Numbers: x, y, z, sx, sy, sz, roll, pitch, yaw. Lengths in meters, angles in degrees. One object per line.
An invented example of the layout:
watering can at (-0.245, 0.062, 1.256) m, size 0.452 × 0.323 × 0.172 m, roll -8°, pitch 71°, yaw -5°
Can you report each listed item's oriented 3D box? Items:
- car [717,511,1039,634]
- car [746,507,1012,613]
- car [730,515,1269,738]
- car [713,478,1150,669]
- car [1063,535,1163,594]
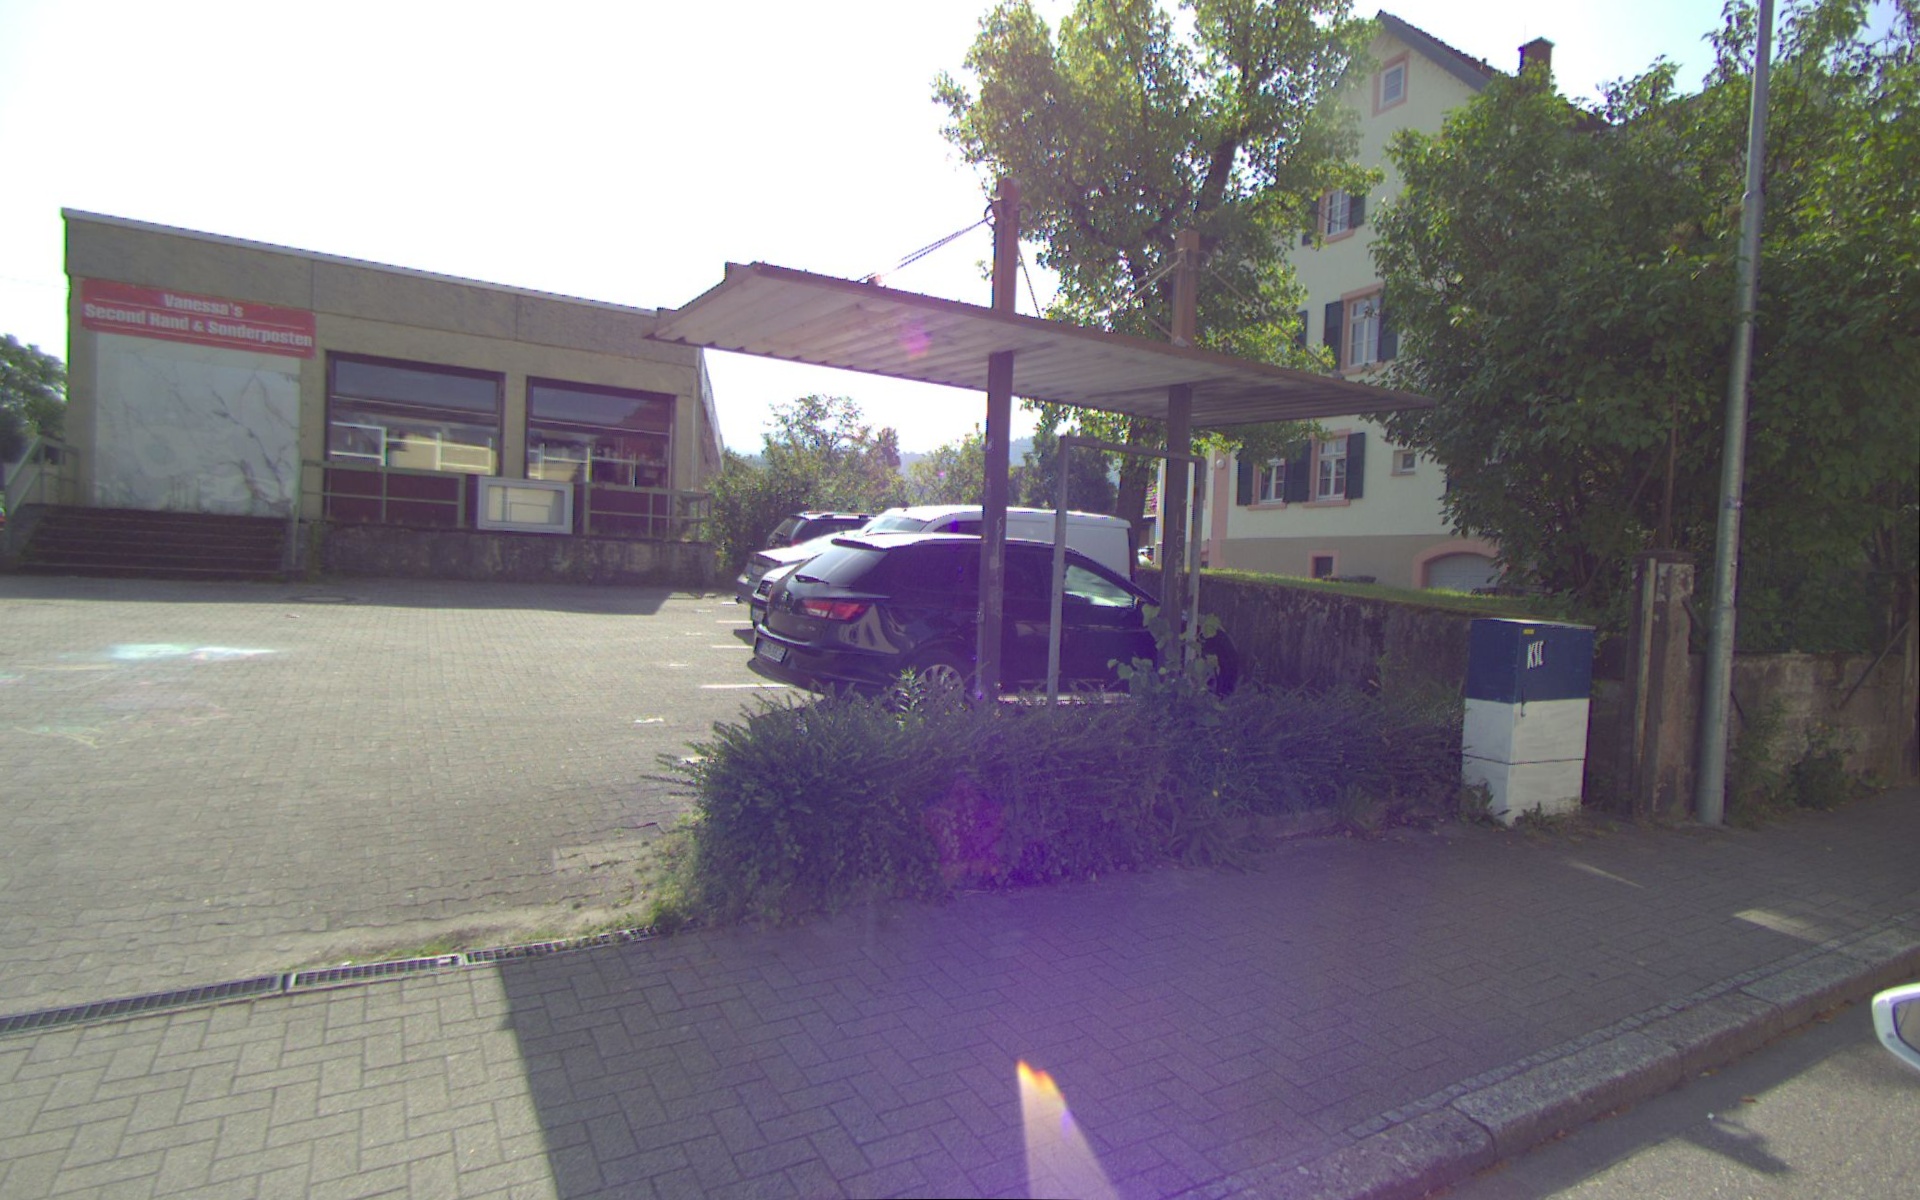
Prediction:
car at (-1.081, -0.367, 13.682) m, size 3.954 × 1.442 × 1.805 m, roll 1°, pitch 5°, yaw -31°
car at (-1.309, -0.644, 16.530) m, size 3.953 × 1.526 × 1.798 m, roll 1°, pitch 5°, yaw -30°
car at (0.432, 0.149, 8.488) m, size 4.343 × 1.482 × 1.607 m, roll 1°, pitch 4°, yaw -31°
car at (-0.234, -0.286, 11.429) m, size 4.631 × 1.796 × 1.812 m, roll 1°, pitch 5°, yaw -32°
car at (4.607, -1.134, 30.818) m, size 1.781 × 1.526 × 3.991 m, roll 2°, pitch 4°, yaw -10°
